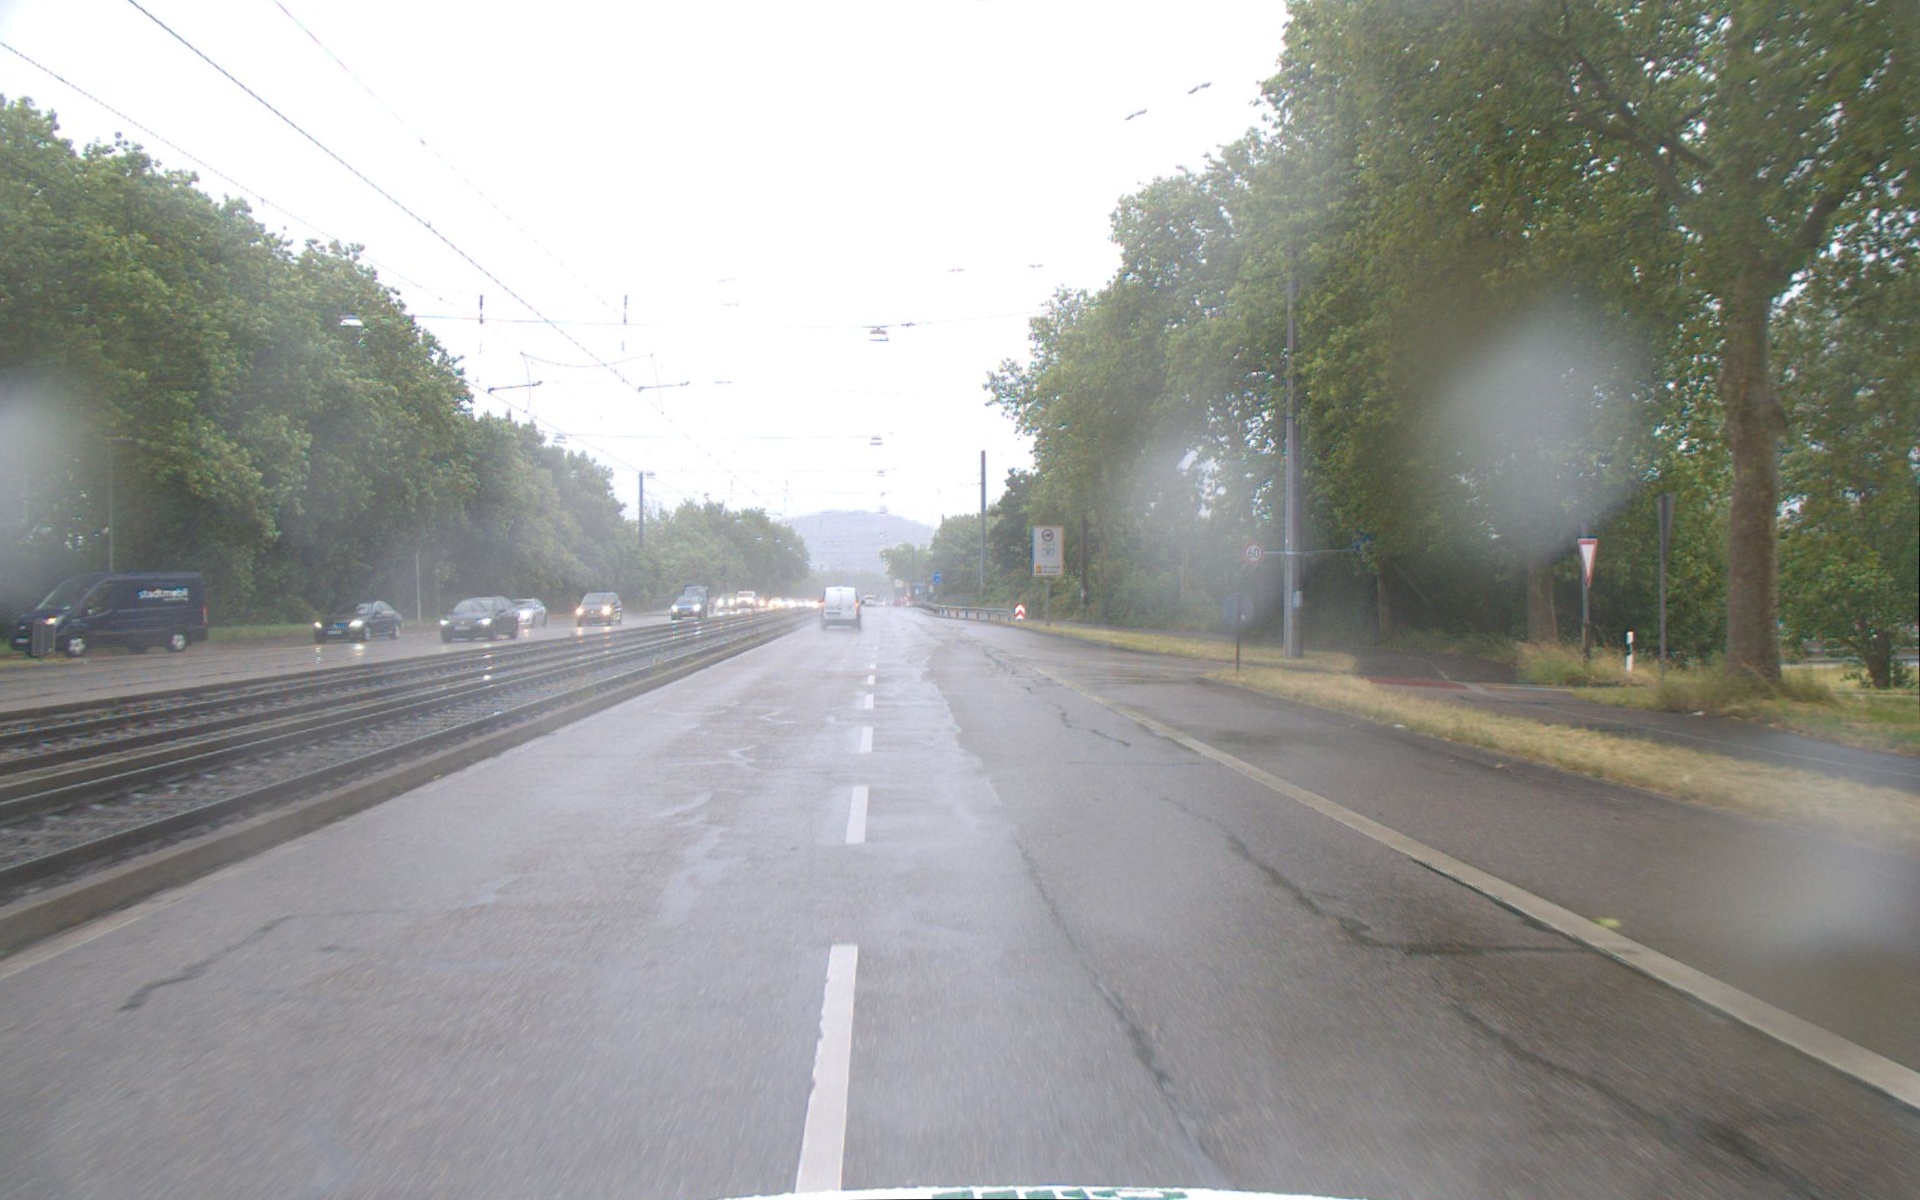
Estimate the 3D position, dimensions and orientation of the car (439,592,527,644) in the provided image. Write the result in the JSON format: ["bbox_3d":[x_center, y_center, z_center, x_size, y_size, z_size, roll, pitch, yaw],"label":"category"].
[{"bbox_3d":[-16.278,0.578,56.703,1.755,1.576,5.309,1,1,-4],"label":"car"}]

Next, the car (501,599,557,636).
[{"bbox_3d":[-22.340,0.862,85.957,1.783,1.735,5.018,1,1,-3],"label":"car"}]

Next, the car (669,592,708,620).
[{"bbox_3d":[-16.835,0.357,102.793,1.740,1.612,5.678,1,1,-3],"label":"car"}]

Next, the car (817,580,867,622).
[{"bbox_3d":[-5.062,0.033,71.356,1.949,1.713,3.739,1,1,-1],"label":"car"}]

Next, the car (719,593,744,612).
[{"bbox_3d":[-21.993,0.225,159.336,1.803,1.747,4.163,1,1,0],"label":"car"}]

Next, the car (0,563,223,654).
[{"bbox_3d":[-24.805,0.212,48.096,2.292,2.468,5.828,2,1,35],"label":"car"}]

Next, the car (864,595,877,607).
[{"bbox_3d":[-12.222,0.165,225.579,1.708,1.534,3.698,1,1,-3],"label":"car"}]

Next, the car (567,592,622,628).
[{"bbox_3d":[-19.246,0.507,87.394,1.783,1.735,6.102,1,1,-3],"label":"car"}]

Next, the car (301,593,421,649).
[{"bbox_3d":[-21.353,0.696,59.141,2.038,1.829,4.768,1,1,7],"label":"car"}]
